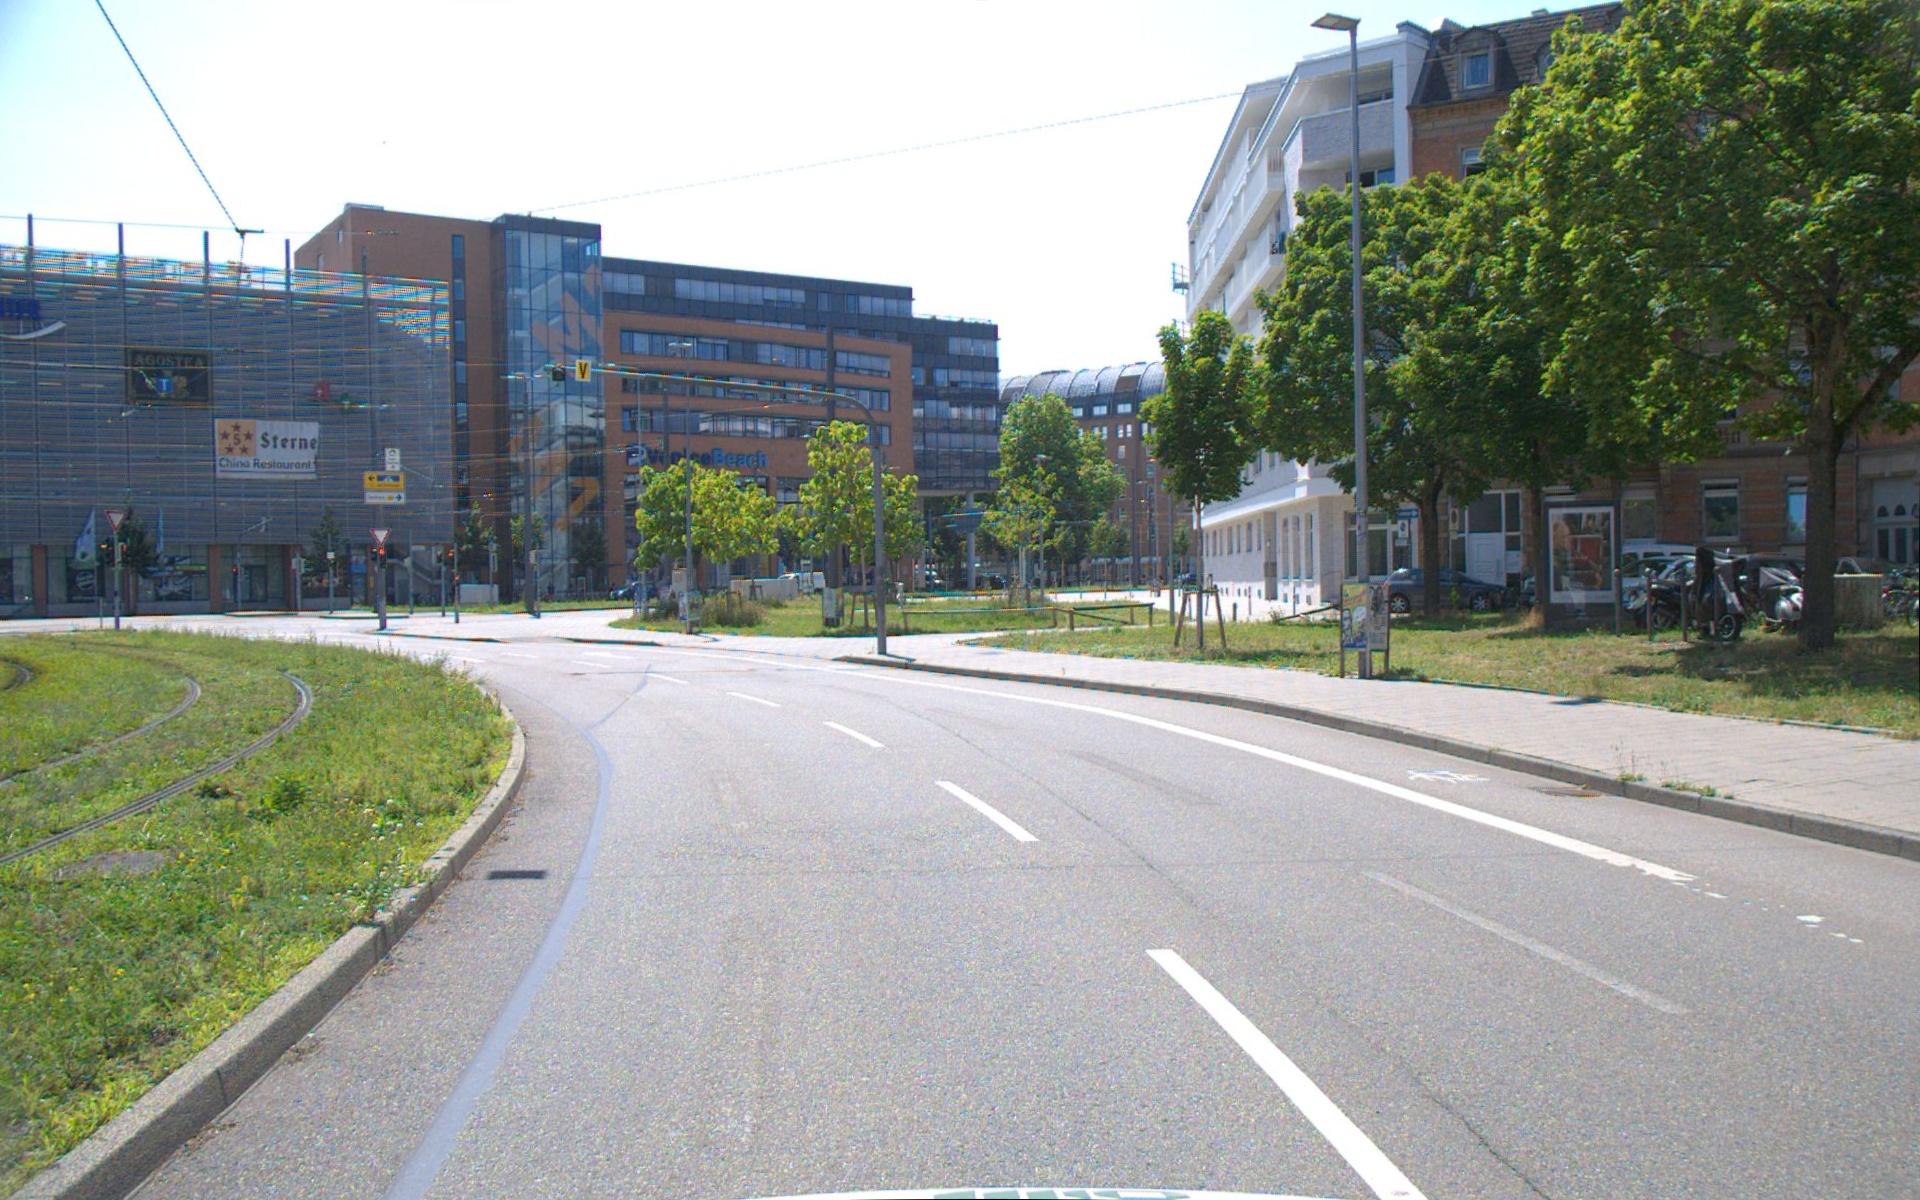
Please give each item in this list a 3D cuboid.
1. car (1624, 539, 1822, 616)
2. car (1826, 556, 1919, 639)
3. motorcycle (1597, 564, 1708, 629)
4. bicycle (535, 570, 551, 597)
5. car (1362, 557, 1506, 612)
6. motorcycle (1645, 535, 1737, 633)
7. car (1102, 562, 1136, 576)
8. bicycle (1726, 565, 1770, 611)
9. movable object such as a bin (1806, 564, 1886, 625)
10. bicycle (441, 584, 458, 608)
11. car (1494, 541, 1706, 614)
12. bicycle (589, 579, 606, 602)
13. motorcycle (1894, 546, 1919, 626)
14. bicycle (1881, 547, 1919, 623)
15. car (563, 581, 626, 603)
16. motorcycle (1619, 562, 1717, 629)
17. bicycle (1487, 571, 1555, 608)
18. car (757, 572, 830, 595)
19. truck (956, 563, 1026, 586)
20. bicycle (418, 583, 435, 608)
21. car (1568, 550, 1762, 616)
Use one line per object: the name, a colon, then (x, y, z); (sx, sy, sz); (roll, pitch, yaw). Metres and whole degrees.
car: (15.156, -0.451, 32.839); (3.810, 1.457, 1.593); (-1, 1, -27)
car: (17.539, -0.062, 28.848); (3.902, 1.400, 1.959); (0, 1, 10)
motorcycle: (12.304, -0.071, 29.417); (1.786, 1.140, 0.527); (0, 1, -5)
bicycle: (-32.078, -1.243, 127.114); (0.480, 2.049, 2.320); (0, 1, -33)
car: (14.793, -0.477, 51.646); (4.042, 1.653, 1.691); (0, 1, 32)
motorcycle: (11.321, -0.262, 25.677); (0.661, 1.437, 1.857); (-2, 1, 3)
car: (20.370, -3.987, 211.683); (3.916, 1.758, 1.861); (0, 1, 33)
bicycle: (14.587, -0.226, 30.590); (0.489, 0.819, 1.451); (0, 1, 36)
movable object such as a bin: (14.035, -0.087, 26.209); (0.965, 0.953, 0.702); (0, 1, 13)
bicycle: (-37.479, -0.311, 121.367); (0.593, 1.761, 2.233); (-1, 1, -34)
car: (14.903, -0.535, 38.483); (4.797, 1.628, 1.822); (-1, 1, -25)
bicycle: (-28.377, -0.758, 129.450); (0.480, 1.828, 2.233); (0, 1, -33)
motorcycle: (16.032, -0.237, 26.175); (2.034, 1.257, 0.813); (0, 0, 18)
bicycle: (16.499, -0.255, 27.431); (2.034, 1.257, 0.632); (0, 1, 12)
car: (-25.103, -0.552, 113.643); (3.957, 1.467, 1.721); (-1, 1, -37)
motorcycle: (12.134, -0.082, 28.361); (1.489, 1.140, 0.478); (0, 1, 2)
bicycle: (14.802, -0.275, 43.629); (2.021, 0.952, 0.503); (-1, 1, -29)
car: (-12.691, -1.282, 126.352); (5.432, 1.697, 1.970); (-1, 1, -41)
truck: (3.753, -3.116, 202.607); (9.050, 2.858, 1.994); (0, 1, 34)
bicycle: (-38.995, -0.351, 120.823); (0.593, 1.761, 2.233); (-1, 1, -34)
car: (15.364, -0.384, 36.037); (3.937, 1.355, 1.745); (-1, 1, -25)
